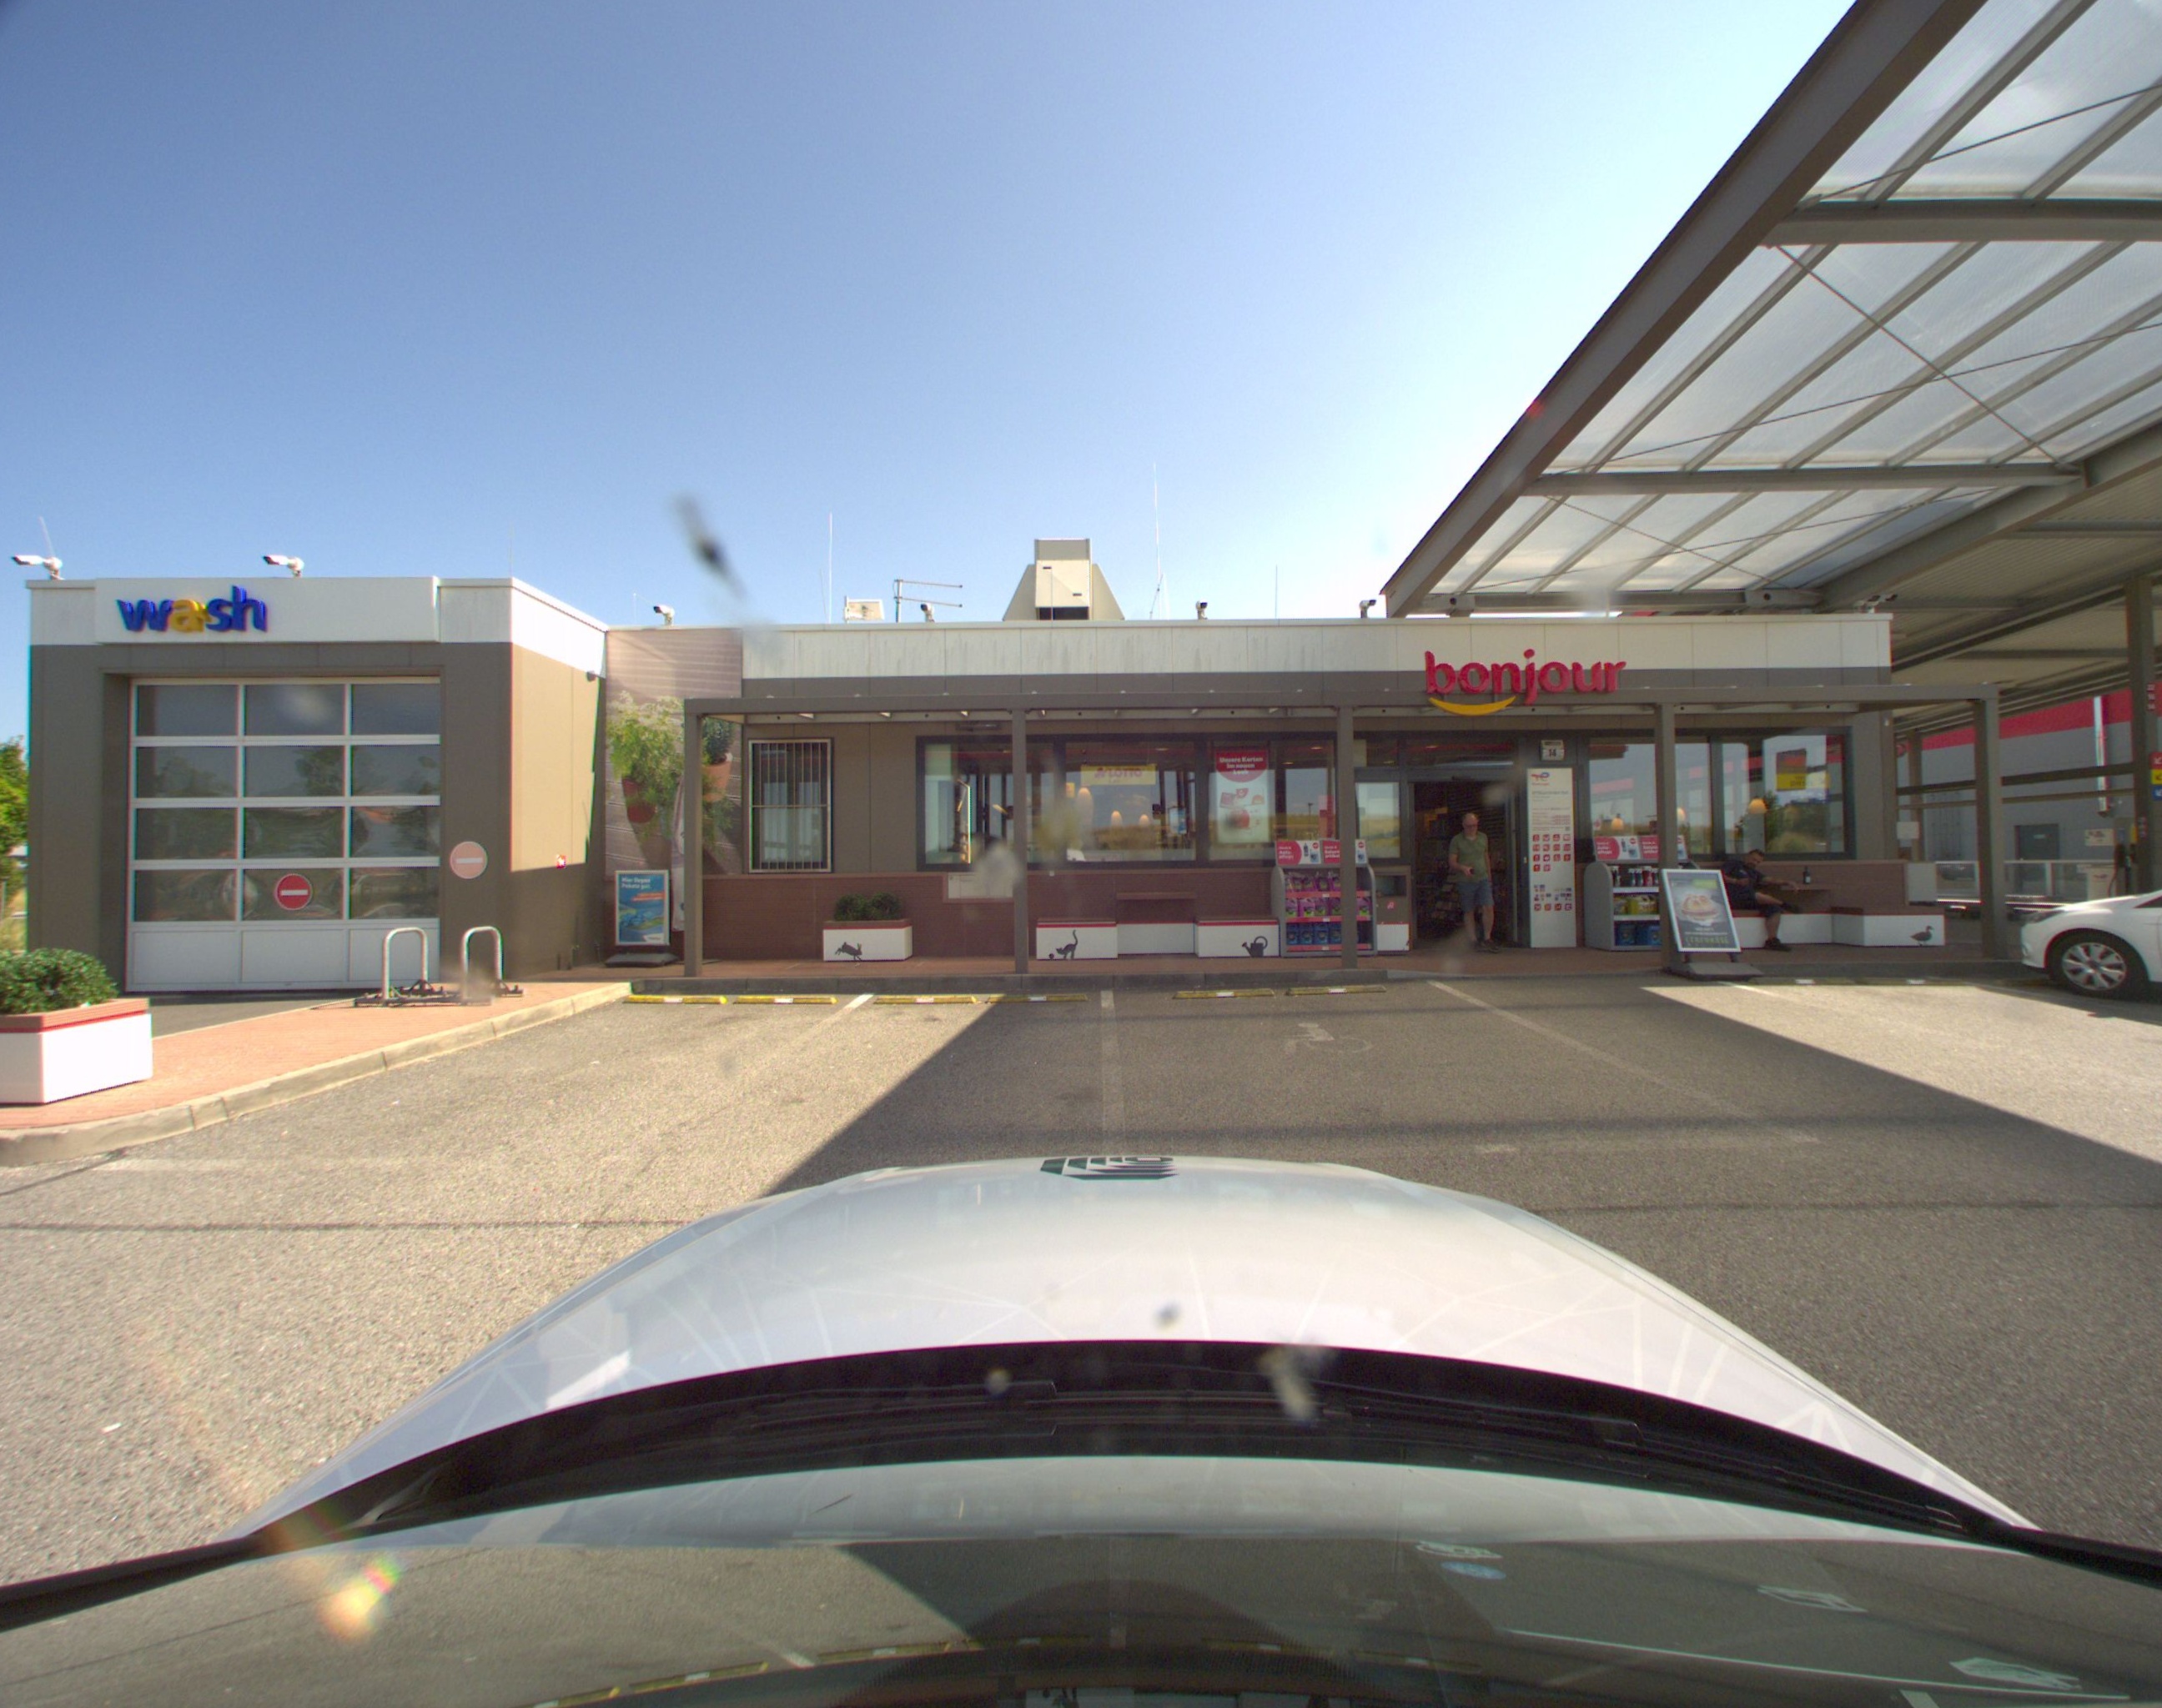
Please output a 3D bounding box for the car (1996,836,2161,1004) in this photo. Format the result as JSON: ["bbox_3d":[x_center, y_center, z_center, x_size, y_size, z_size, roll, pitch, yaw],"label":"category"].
[{"bbox_3d":[10.338,0.549,6.155,1.827,1.457,4.312,-1,0,-5],"label":"car"}]

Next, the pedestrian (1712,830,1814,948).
[{"bbox_3d":[8.574,0.427,10.264,0.699,1.432,0.672,-1,0,-1],"label":"pedestrian"}]

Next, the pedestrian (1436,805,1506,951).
[{"bbox_3d":[5.039,0.298,10.559,0.695,1.797,0.866,-1,0,19],"label":"pedestrian"}]
